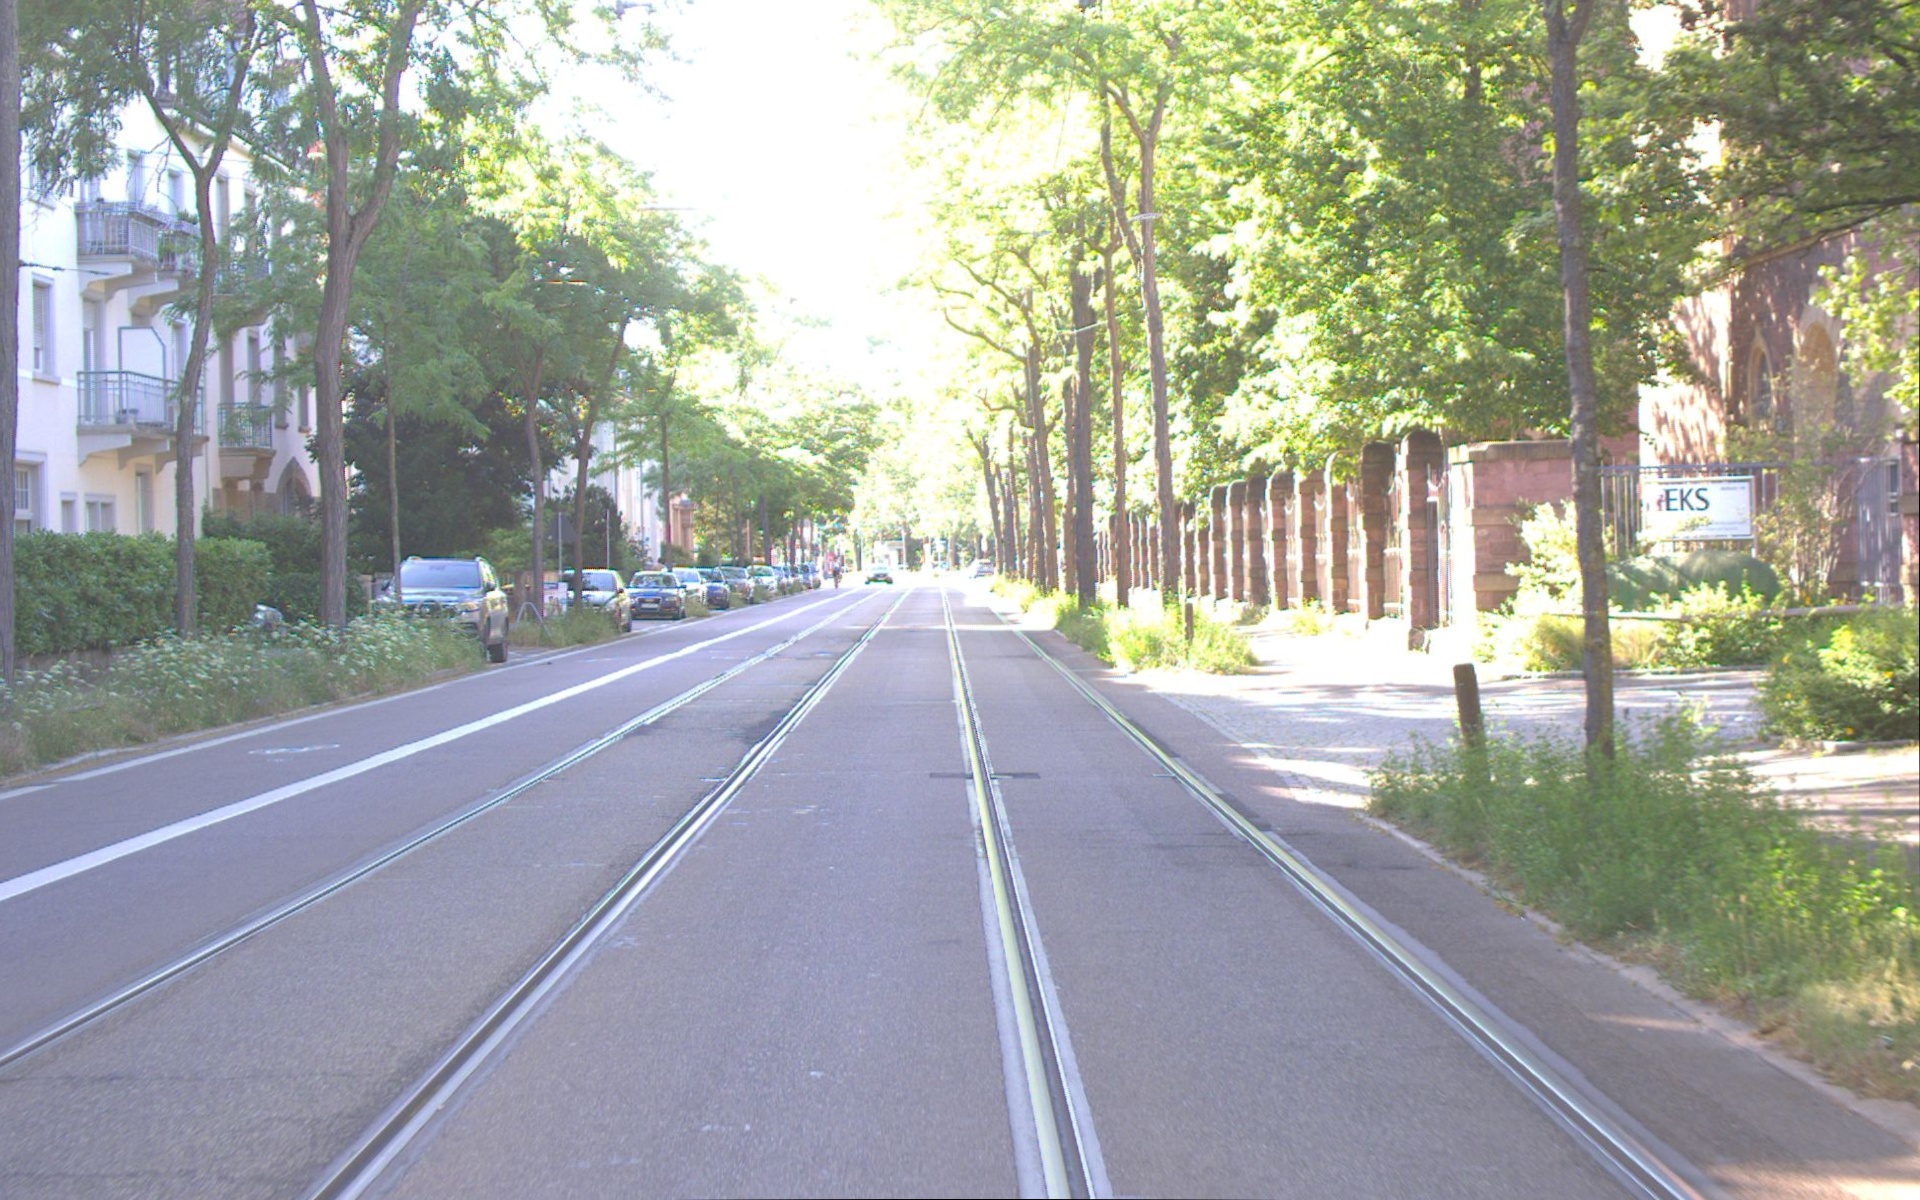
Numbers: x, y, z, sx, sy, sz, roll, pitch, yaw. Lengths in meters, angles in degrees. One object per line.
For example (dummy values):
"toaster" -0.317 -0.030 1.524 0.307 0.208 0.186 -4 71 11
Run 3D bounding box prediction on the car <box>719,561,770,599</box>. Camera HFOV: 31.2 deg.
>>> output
"car" -8.644 -0.822 138.410 1.817 1.480 4.206 0 1 0

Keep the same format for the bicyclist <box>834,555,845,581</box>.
"bicyclist" -7.785 -2.097 222.208 0.626 1.633 0.940 -4 1 0

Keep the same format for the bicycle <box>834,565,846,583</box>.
"bicycle" -7.767 -1.683 222.259 0.626 1.173 1.913 -4 1 0

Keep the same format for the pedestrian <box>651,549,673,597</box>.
"pedestrian" -11.270 -1.027 130.059 0.691 1.795 0.813 -2 1 0

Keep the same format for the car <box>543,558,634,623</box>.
"car" -9.110 -0.250 84.525 1.776 1.536 4.486 0 1 0

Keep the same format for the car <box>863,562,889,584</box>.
"car" -5.864 -1.873 238.513 1.757 1.434 4.524 -1 1 -2

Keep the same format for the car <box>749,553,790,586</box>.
"car" -9.111 -1.463 164.587 1.702 1.480 4.079 2 1 0

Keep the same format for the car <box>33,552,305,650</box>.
"car" -13.816 0.005 60.213 4.300 1.655 1.953 0 1 1

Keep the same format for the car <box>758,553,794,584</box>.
"car" -9.195 -1.586 172.013 1.687 1.480 3.760 1 1 -1

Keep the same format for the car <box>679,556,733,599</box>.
"car" -9.249 -0.835 125.407 1.757 1.506 4.439 0 1 -2

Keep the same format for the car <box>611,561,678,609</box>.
"car" -9.479 -0.470 103.406 1.705 1.401 4.334 0 1 -1

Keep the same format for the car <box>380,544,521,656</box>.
"car" -8.641 -0.039 58.645 1.870 1.816 4.772 0 1 -2
